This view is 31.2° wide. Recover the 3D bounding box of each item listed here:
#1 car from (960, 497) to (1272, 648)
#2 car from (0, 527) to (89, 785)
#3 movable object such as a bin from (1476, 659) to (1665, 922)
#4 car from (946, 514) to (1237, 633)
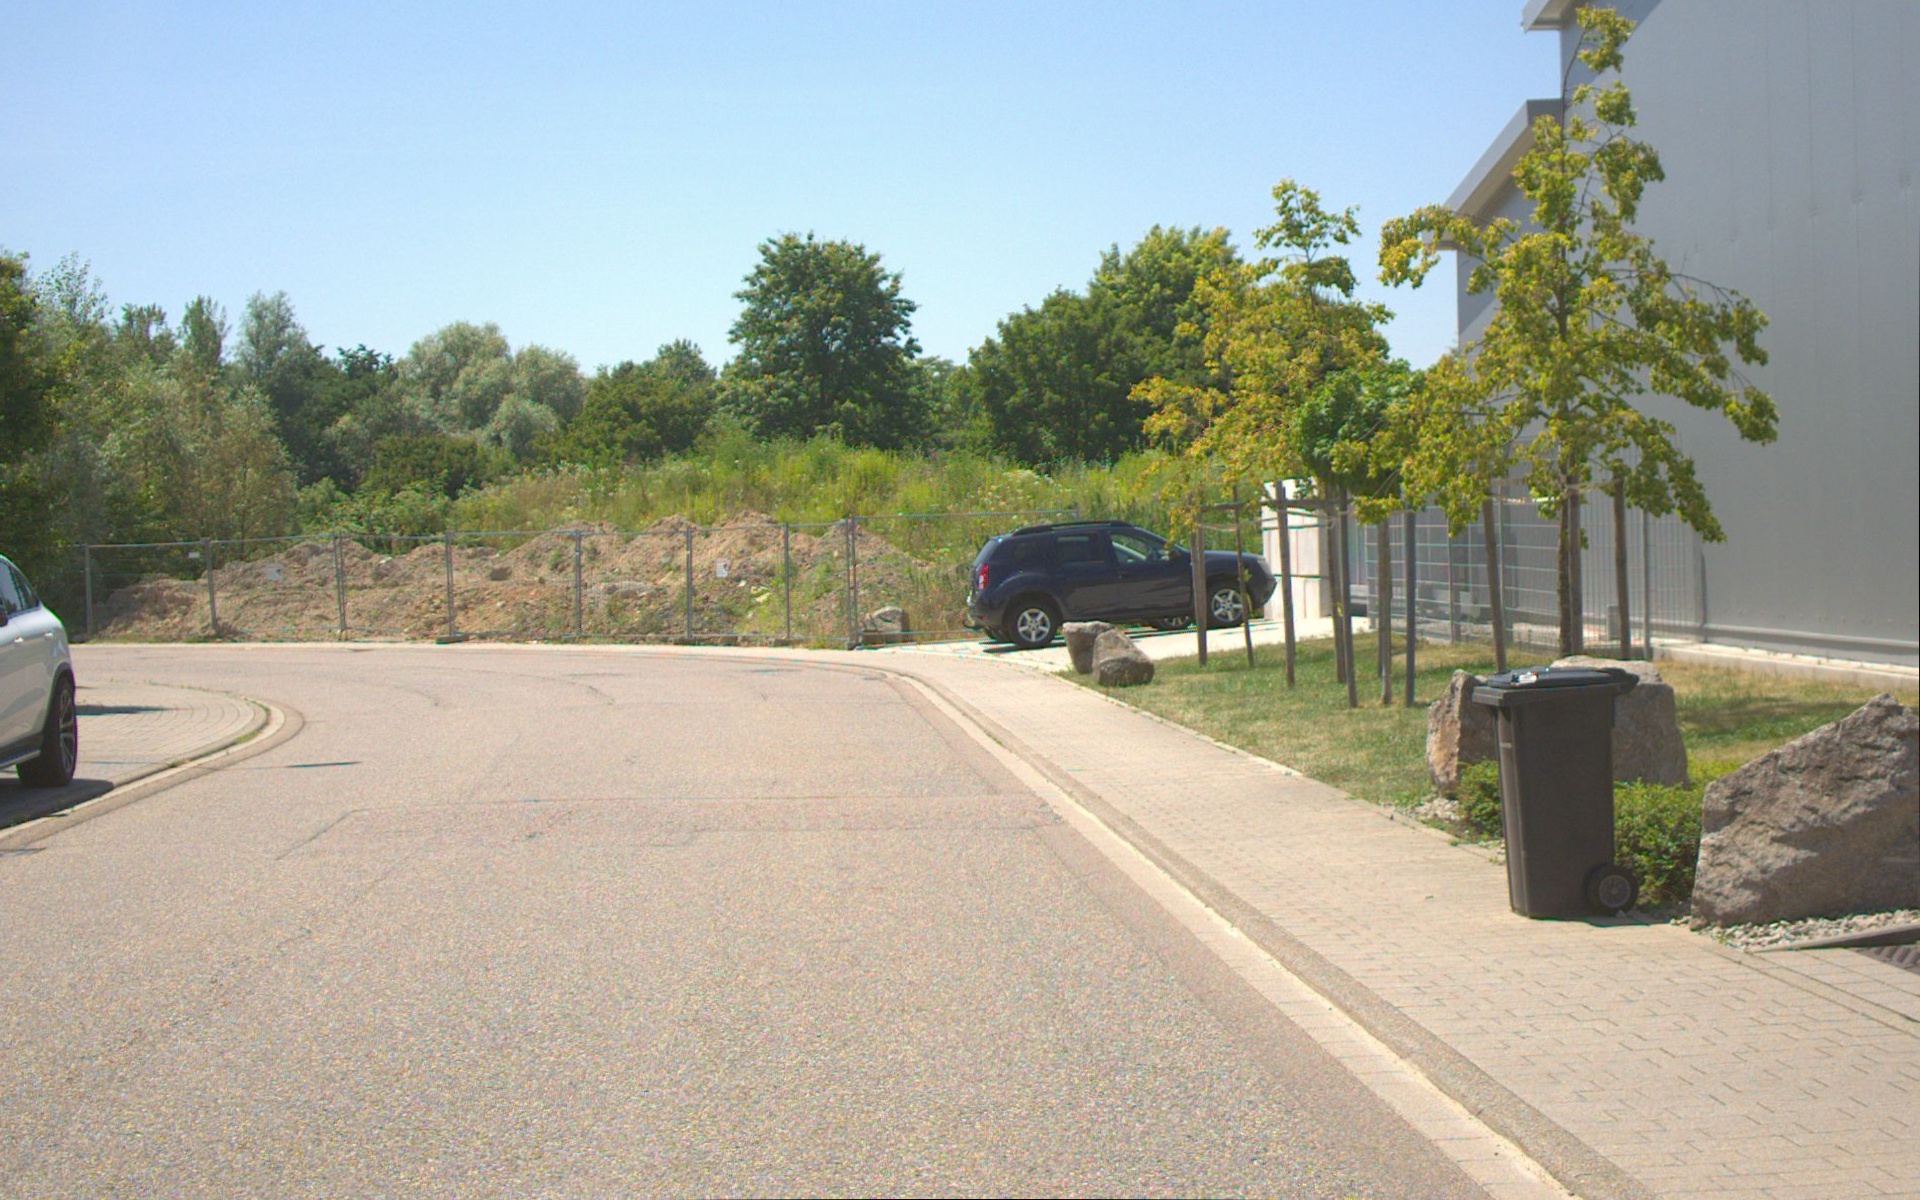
[{"bbox_3d":[2.135,-0.394,47.728,4.009,1.649,1.858,-6,1,-3],"label":"car"},{"bbox_3d":[-7.152,0.390,22.489,1.912,1.649,4.755,-2,1,-4],"label":"car"},{"bbox_3d":[2.328,0.718,13.146,0.558,0.943,0.539,-2,1,-5],"label":"movable object such as a bin"},{"bbox_3d":[1.899,-0.399,50.451,4.009,1.457,1.893,-4,1,-4],"label":"car"}]
